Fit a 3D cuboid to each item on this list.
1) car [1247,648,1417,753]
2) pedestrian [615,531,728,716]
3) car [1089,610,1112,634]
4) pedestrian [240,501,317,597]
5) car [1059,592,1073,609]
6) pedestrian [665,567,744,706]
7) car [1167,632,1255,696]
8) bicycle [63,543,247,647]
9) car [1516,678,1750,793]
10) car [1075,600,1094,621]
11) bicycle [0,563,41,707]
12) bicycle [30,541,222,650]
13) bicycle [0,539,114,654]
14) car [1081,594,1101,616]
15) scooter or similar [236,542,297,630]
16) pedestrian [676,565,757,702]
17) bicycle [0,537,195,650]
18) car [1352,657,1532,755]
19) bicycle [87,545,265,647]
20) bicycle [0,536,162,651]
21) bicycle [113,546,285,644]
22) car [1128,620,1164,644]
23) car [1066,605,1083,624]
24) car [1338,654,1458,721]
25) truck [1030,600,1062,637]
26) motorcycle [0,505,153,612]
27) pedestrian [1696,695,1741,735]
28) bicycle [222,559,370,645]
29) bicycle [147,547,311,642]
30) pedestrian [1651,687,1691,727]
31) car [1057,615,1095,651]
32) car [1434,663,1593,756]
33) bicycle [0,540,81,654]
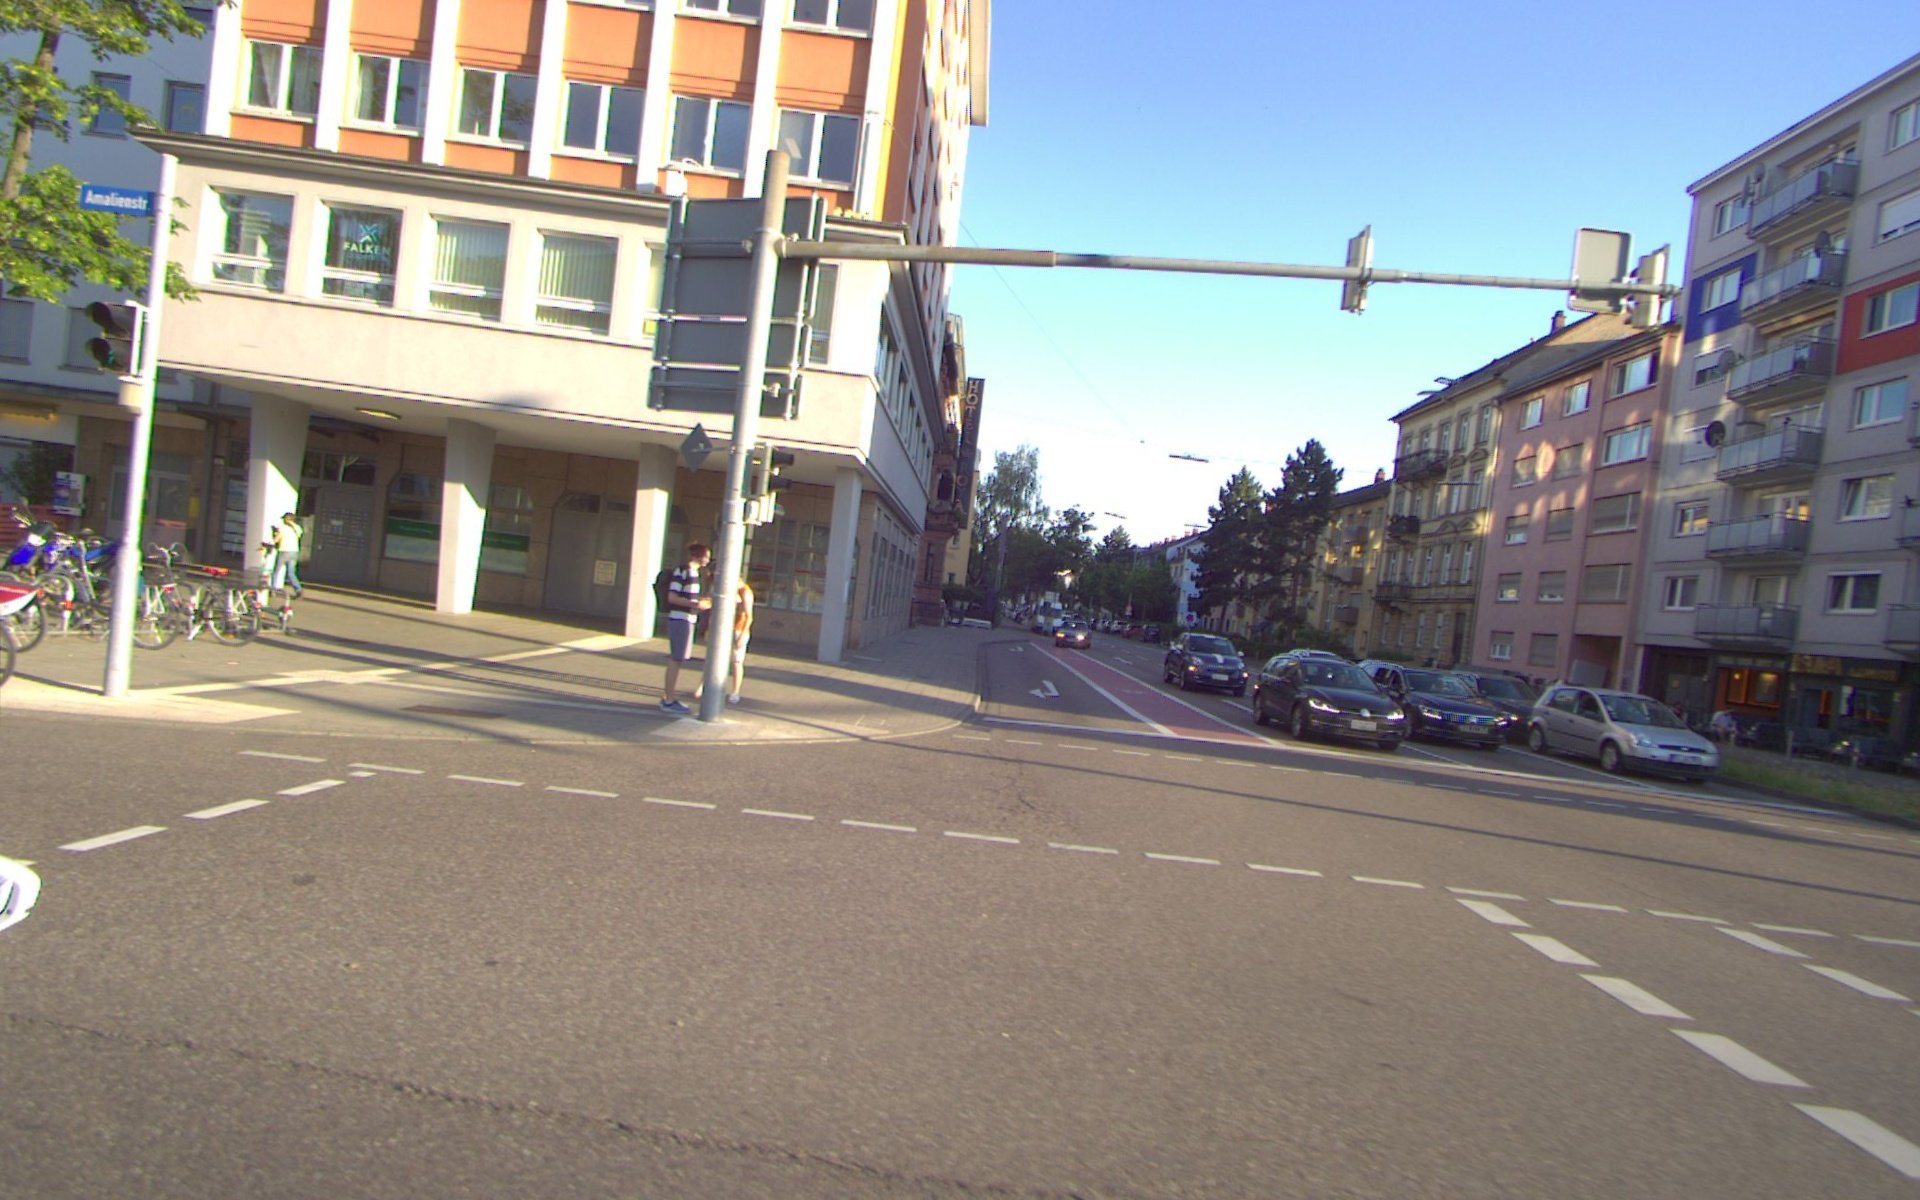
[{"bbox_3d":[6.744,1.760,18.735,1.895,1.443,4.191,5,0,6],"label":"car"},{"bbox_3d":[-3.318,0.263,11.603,0.832,1.982,0.702,7,2,10],"label":"pedestrian"},{"bbox_3d":[16.399,2.559,117.754,1.962,2.550,4.001,7,0,3],"label":"car"},{"bbox_3d":[-13.416,-0.997,19.821,0.861,1.746,0.656,7,0,-1],"label":"pedestrian"},{"bbox_3d":[18.482,0.139,175.134,1.962,2.550,4.001,7,0,3],"label":"car"},{"bbox_3d":[-3.263,0.459,12.882,0.694,1.665,0.518,7,2,4],"label":"pedestrian"},{"bbox_3d":[7.198,1.781,29.197,1.770,1.469,3.926,7,0,6],"label":"car"},{"bbox_3d":[-9.856,-0.055,12.347,1.763,1.040,0.360,8,0,-6],"label":"bicycle"},{"bbox_3d":[12.462,2.436,18.992,1.883,1.486,4.015,7,-1,6],"label":"car"},{"bbox_3d":[17.080,1.468,137.945,1.962,2.550,4.001,7,0,3],"label":"car"},{"bbox_3d":[-7.904,0.154,7.313,1.763,1.040,0.515,8,0,-6],"label":"bicycle"},{"bbox_3d":[-9.851,-0.049,11.911,1.763,1.040,0.360,8,0,-6],"label":"bicycle"},{"bbox_3d":[-9.827,-0.086,10.337,1.763,1.040,0.361,8,0,-5],"label":"bicycle"},{"bbox_3d":[16.811,0.706,129.318,1.962,2.550,4.001,7,0,3],"label":"car"},{"bbox_3d":[-11.194,-0.241,16.221,1.504,1.279,0.308,7,0,39],"label":"scooter or similar"},{"bbox_3d":[-3.243,0.440,13.427,0.758,1.715,0.518,7,2,4],"label":"pedestrian"},{"bbox_3d":[-9.846,-0.064,11.473,1.763,1.040,0.368,8,0,-6],"label":"bicycle"},{"bbox_3d":[9.948,2.121,21.169,1.962,1.486,4.245,7,-1,6],"label":"car"},{"bbox_3d":[-9.892,-0.047,12.729,1.763,1.040,0.365,8,0,-6],"label":"bicycle"},{"bbox_3d":[-9.803,-0.078,10.942,1.763,1.040,0.360,8,0,-6],"label":"bicycle"},{"bbox_3d":[-9.941,-0.056,13.174,1.763,1.040,0.365,8,0,-6],"label":"bicycle"},{"bbox_3d":[16.336,2.791,88.477,1.964,1.807,3.998,7,-1,-4],"label":"car"},{"bbox_3d":[16.984,2.119,149.872,1.962,2.550,4.001,7,0,3],"label":"car"},{"bbox_3d":[13.439,2.646,31.181,1.674,1.513,4.539,7,0,1],"label":"car"},{"bbox_3d":[6.165,1.321,72.271,1.962,2.373,4.000,7,1,5],"label":"truck"},{"bbox_3d":[-12.802,-0.554,14.393,0.631,1.370,2.148,7,0,0],"label":"motorcycle"},{"bbox_3d":[25.306,3.817,33.577,0.889,1.180,1.046,7,0,27],"label":"pedestrian"},{"bbox_3d":[-9.847,0.033,14.945,1.763,1.040,0.365,8,0,-6],"label":"bicycle"},{"bbox_3d":[-9.936,-0.067,13.704,1.763,1.040,0.365,8,0,-6],"label":"bicycle"},{"bbox_3d":[25.593,3.840,36.232,0.889,1.313,1.046,7,0,27],"label":"pedestrian"},{"bbox_3d":[6.060,1.713,52.608,1.708,1.595,4.112,7,-1,6],"label":"car"},{"bbox_3d":[12.848,2.485,23.660,1.627,1.541,4.182,7,1,6],"label":"car"},{"bbox_3d":[-9.783,-0.102,9.886,1.763,1.040,0.360,8,0,-6],"label":"bicycle"}]
